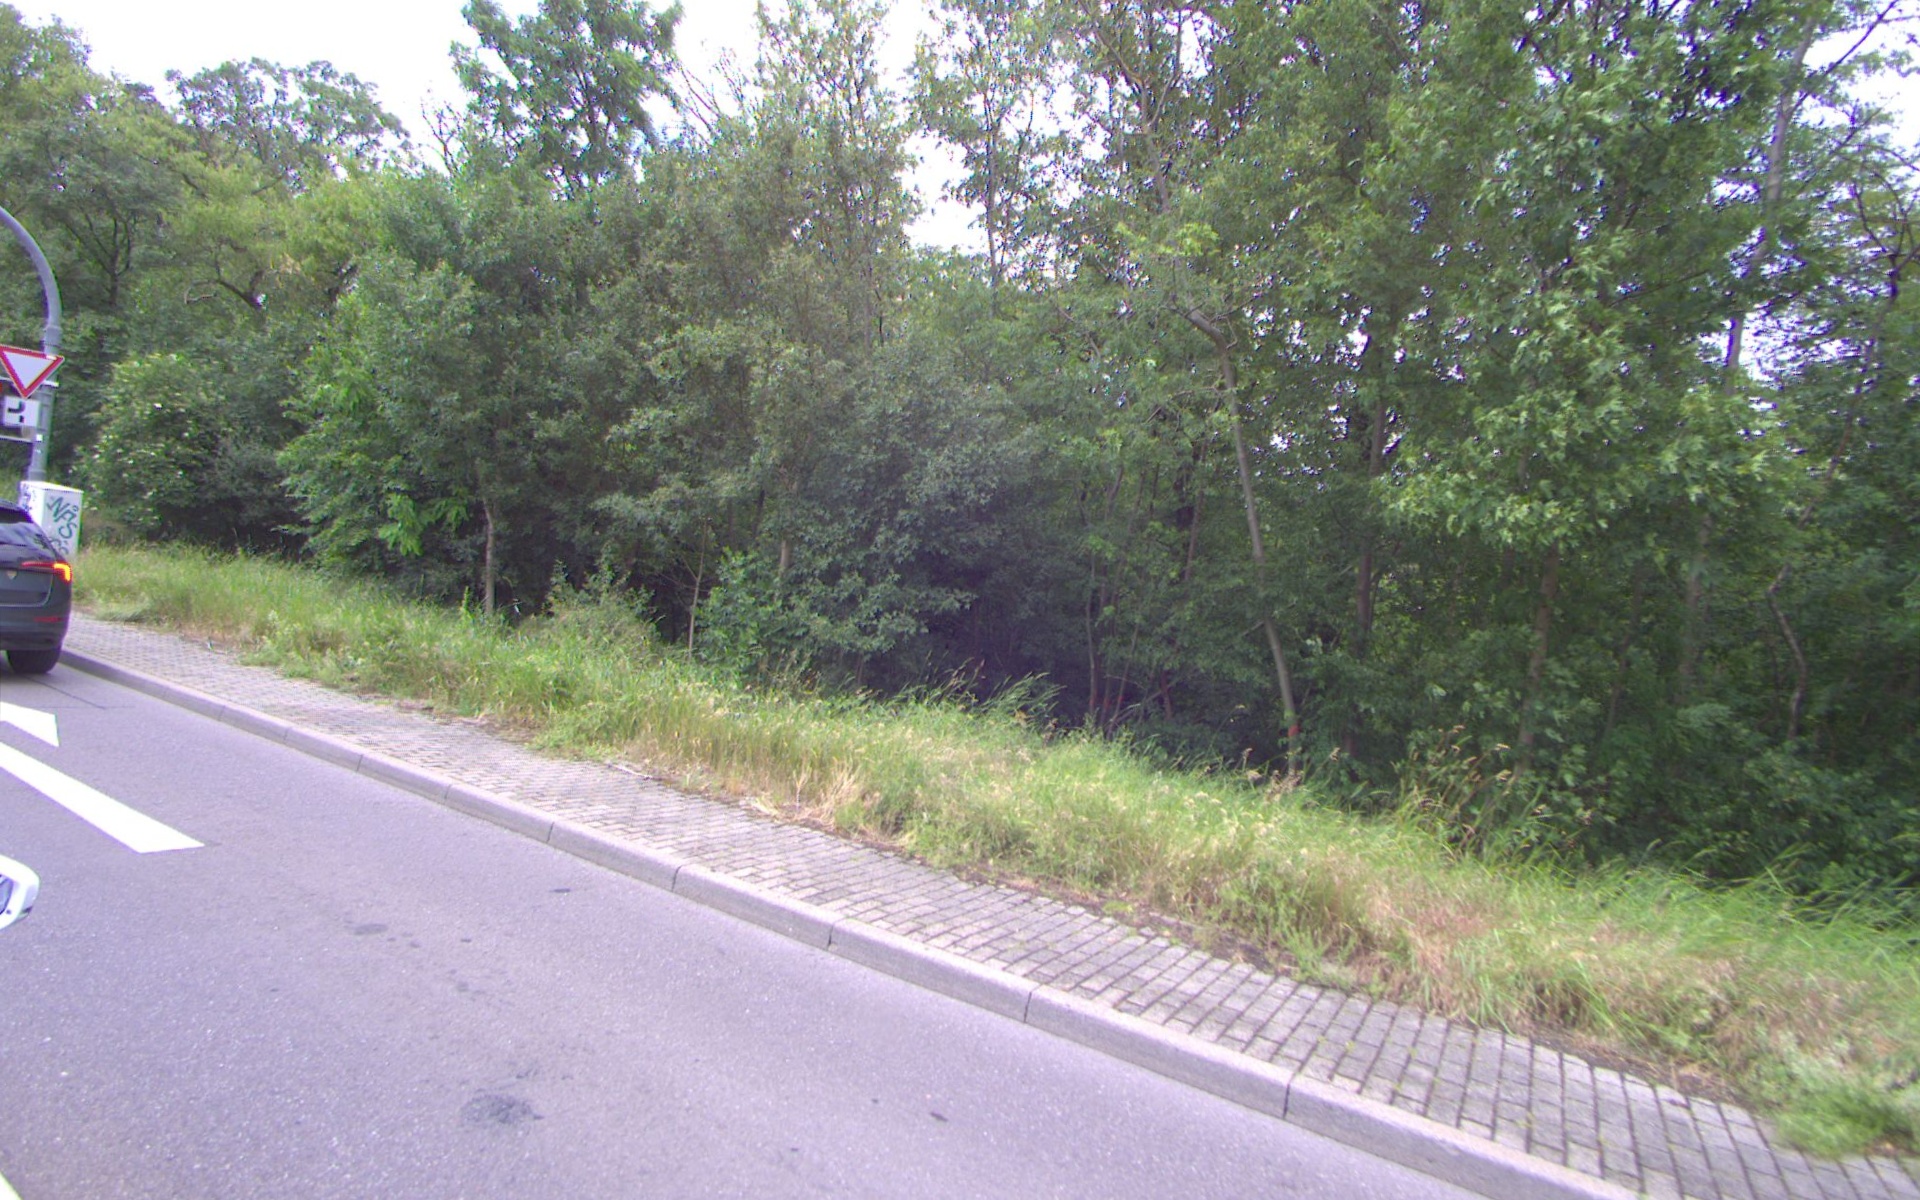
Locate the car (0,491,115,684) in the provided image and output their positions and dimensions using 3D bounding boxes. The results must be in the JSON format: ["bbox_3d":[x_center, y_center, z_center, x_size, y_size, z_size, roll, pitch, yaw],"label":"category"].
[{"bbox_3d":[-9.114,-0.314,8.463,3.933,1.468,1.795,7,0,31],"label":"car"}]
